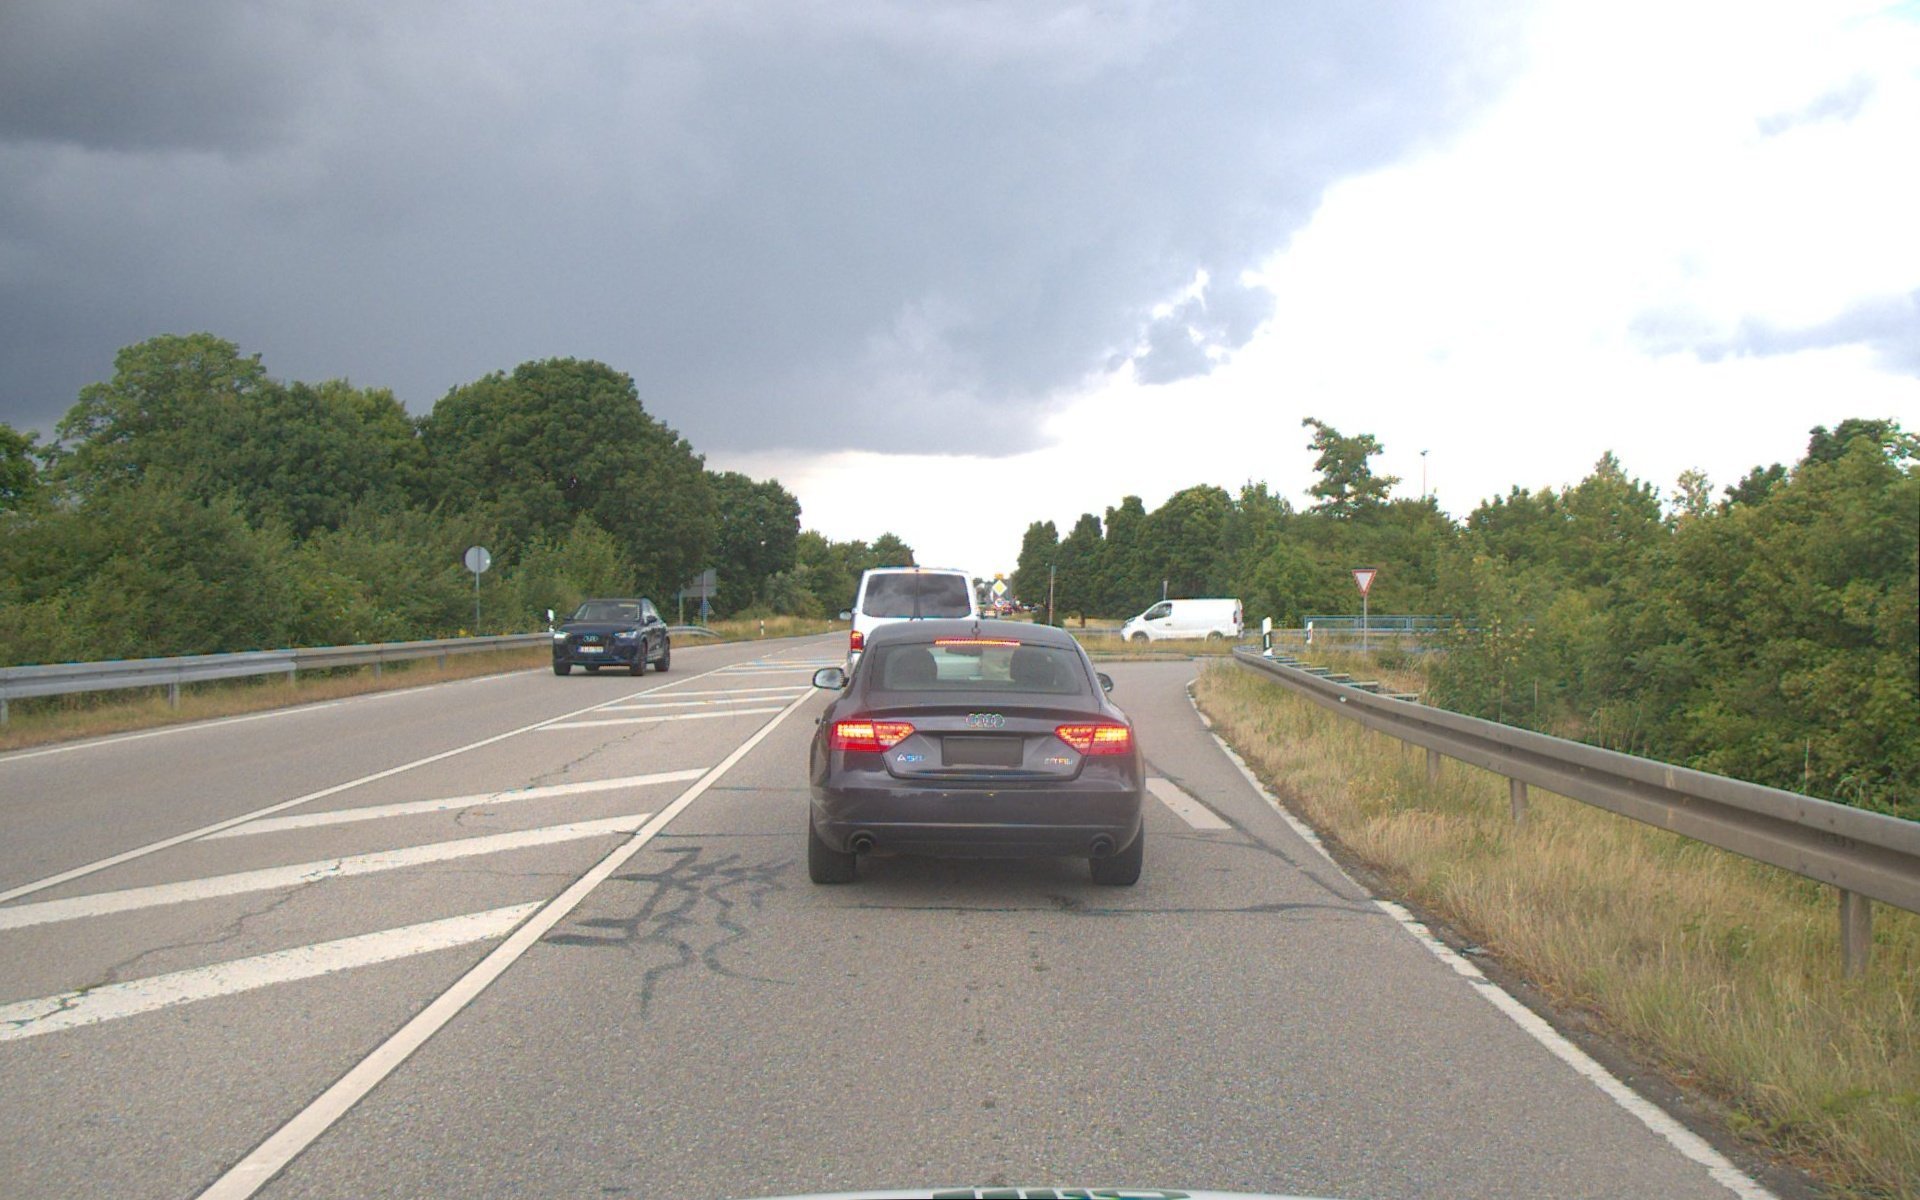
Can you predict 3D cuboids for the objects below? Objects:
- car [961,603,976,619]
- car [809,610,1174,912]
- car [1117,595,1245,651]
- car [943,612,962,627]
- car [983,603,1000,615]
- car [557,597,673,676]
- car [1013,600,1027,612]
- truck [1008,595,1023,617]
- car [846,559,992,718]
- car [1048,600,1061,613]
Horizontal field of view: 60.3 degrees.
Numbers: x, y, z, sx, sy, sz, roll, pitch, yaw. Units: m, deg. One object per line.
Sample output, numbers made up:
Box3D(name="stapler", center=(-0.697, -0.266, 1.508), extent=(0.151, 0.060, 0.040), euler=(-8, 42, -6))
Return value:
Box3D(name="car", center=(1.085, 1.455, 216.336), extent=(1.952, 2.049, 4.000), euler=(1, 0, 0))
Box3D(name="car", center=(0.089, 0.781, 9.583), extent=(1.744, 1.423, 3.335), euler=(0, 0, -2))
Box3D(name="car", center=(8.834, 0.882, 66.046), extent=(4.757, 2.101, 2.089), euler=(1, 0, 17))
Box3D(name="car", center=(-0.768, 1.973, 166.623), extent=(1.490, 1.423, 3.185), euler=(0, -2, 6))
Box3D(name="car", center=(4.513, 1.294, 237.701), extent=(2.161, 1.610, 4.377), euler=(1, 0, -2))
Box3D(name="car", center=(-7.266, 0.720, 35.172), extent=(1.675, 1.545, 4.208), euler=(1, 0, -2))
Box3D(name="car", center=(8.882, 0.816, 245.035), extent=(1.952, 1.722, 4.000), euler=(1, 0, 1))
Box3D(name="truck", center=(7.643, 0.854, 226.676), extent=(1.952, 2.969, 5.794), euler=(1, 0, 1))
Box3D(name="car", center=(-0.605, 0.496, 23.537), extent=(1.872, 2.049, 3.998), euler=(1, 0, -2))
Box3D(name="car", center=(13.581, 0.924, 237.852), extent=(1.836, 1.722, 4.002), euler=(1, 0, 4))
